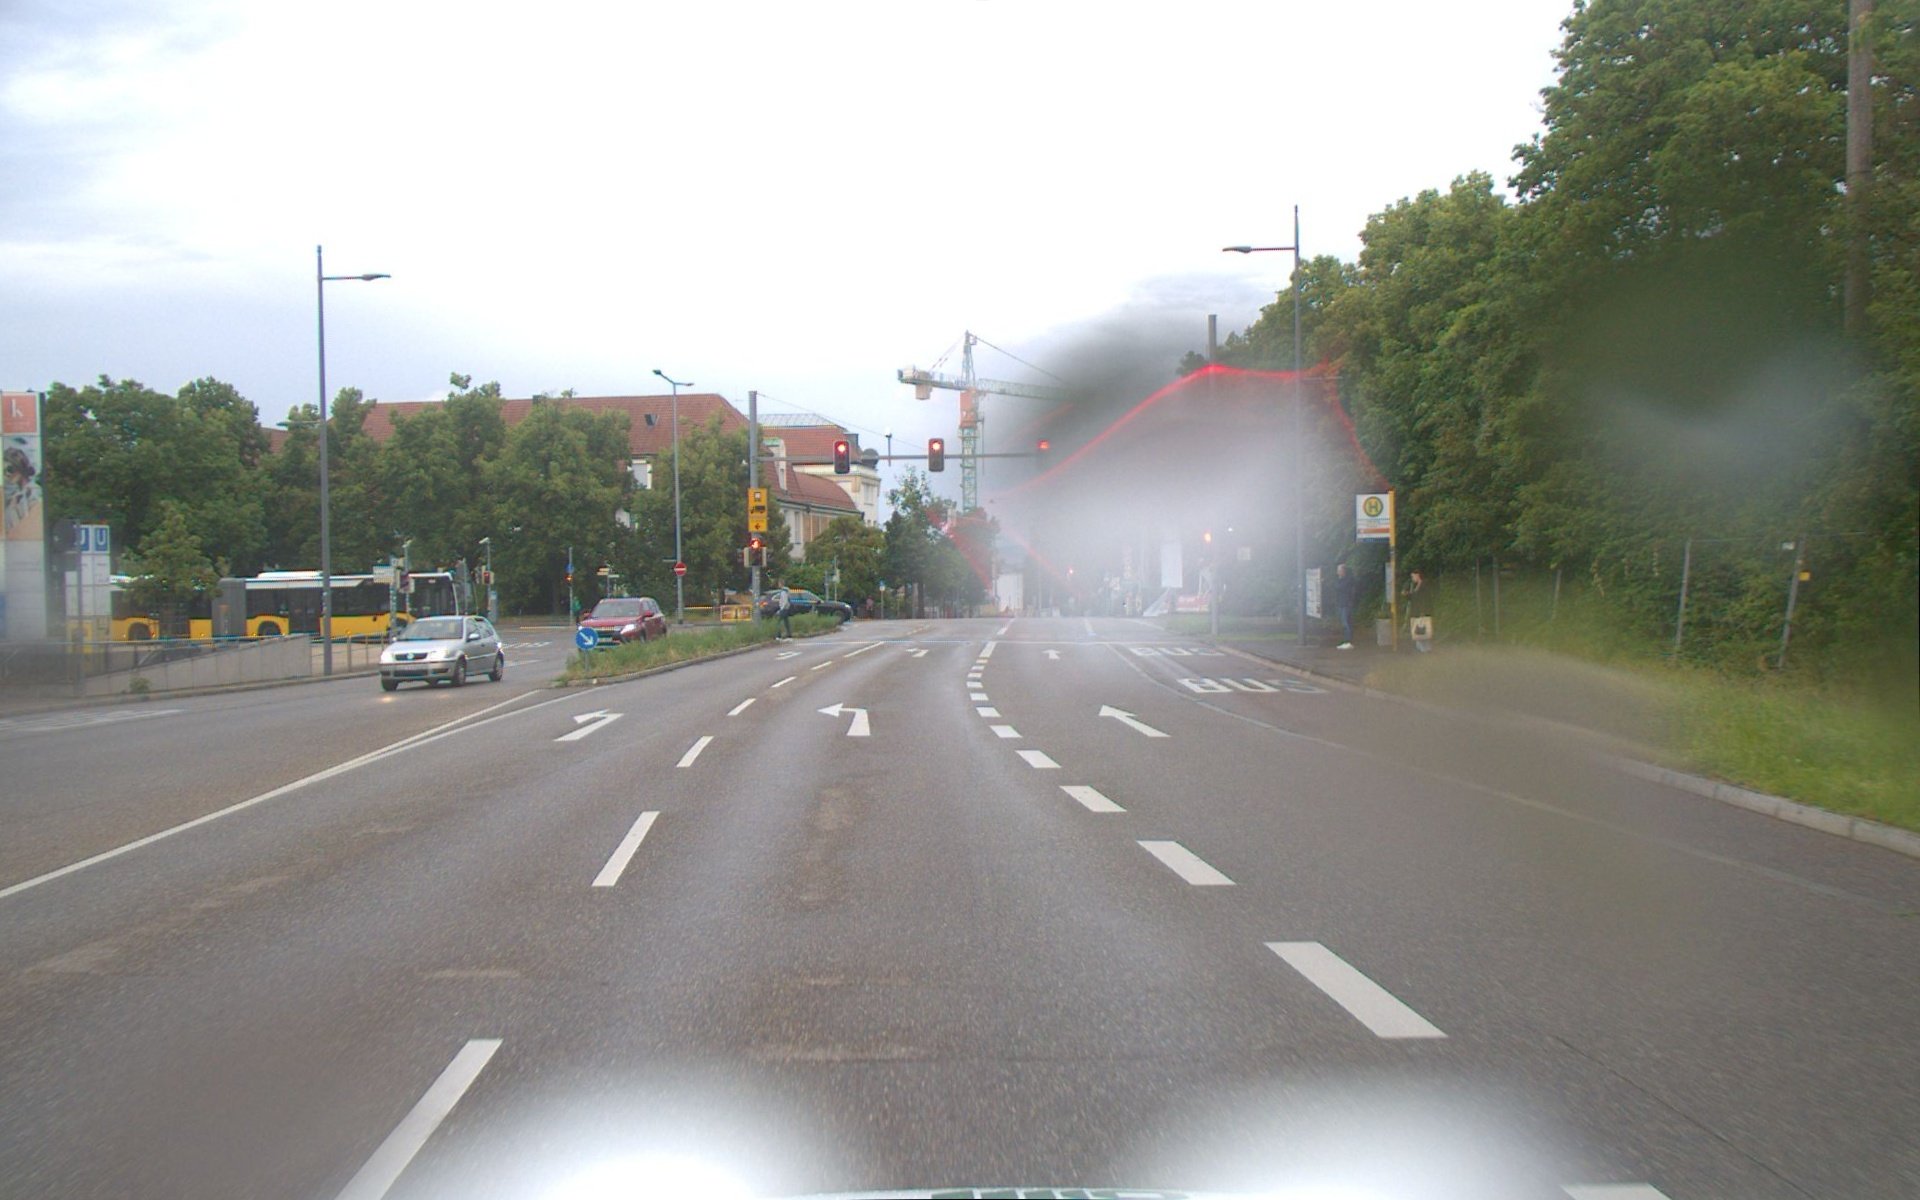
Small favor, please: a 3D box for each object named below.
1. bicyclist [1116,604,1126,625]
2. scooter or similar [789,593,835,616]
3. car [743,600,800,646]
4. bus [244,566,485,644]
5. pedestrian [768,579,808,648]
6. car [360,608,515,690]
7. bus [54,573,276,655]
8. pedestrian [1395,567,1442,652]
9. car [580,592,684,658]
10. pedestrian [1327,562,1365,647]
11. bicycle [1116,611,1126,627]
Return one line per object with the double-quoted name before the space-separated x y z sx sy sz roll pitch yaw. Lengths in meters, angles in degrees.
"bicyclist" 12.237 1.092 125.700 0.705 1.591 1.143 1 -1 4
"scooter or similar" -9.985 0.283 111.660 3.024 1.465 0.949 -1 0 0
"car" -8.803 1.097 77.564 1.904 2.056 4.552 1 -2 2
"bus" -26.103 0.224 72.716 9.520 3.157 2.899 -1 0 4
"pedestrian" -5.315 0.406 51.180 0.920 2.048 0.848 -4 0 8
"car" -10.570 0.951 33.723 1.726 1.441 3.880 -3 0 2
"bus" -35.063 0.603 73.115 8.369 3.365 2.899 -1 0 3
"pedestrian" 9.295 0.187 33.538 0.662 1.687 0.792 -1 0 -3
"car" -9.440 0.673 47.943 1.815 1.712 4.739 -3 0 2
"pedestrian" 8.889 0.106 38.098 0.627 1.934 0.718 -1 0 -3
"bicycle" 12.229 1.469 125.687 0.705 1.214 1.756 1 -1 4
